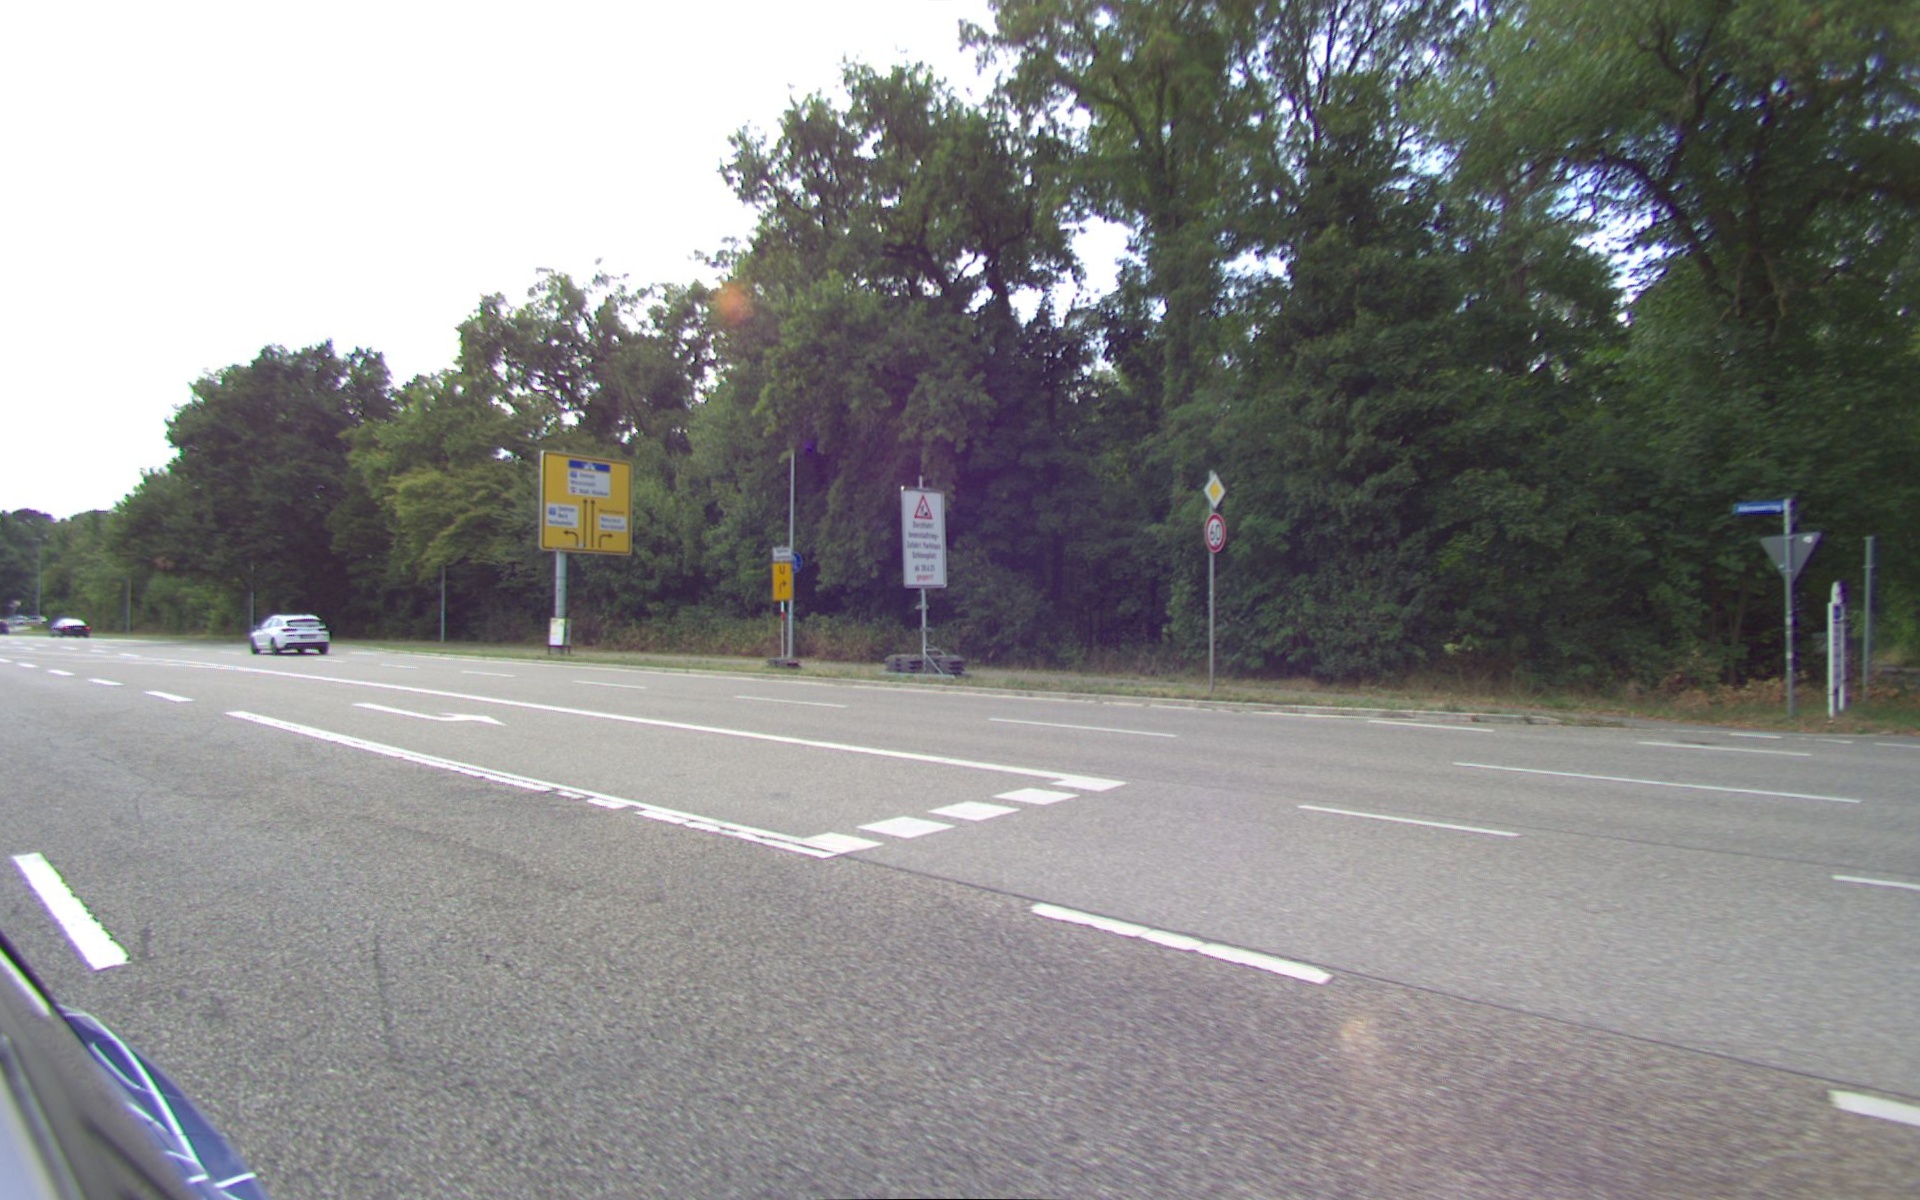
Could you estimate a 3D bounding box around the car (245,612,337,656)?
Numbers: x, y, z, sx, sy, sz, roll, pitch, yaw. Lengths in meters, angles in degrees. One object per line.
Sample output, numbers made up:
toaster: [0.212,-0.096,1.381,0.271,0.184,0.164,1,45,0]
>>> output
car: [-25.815,1.242,38.995,4.591,1.511,1.914,0,1,43]

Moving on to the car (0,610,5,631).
car: [-90.217,1.906,93.666,3.994,1.896,1.975,0,1,37]

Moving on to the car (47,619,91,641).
car: [-69.343,2.317,78.748,3.997,1.606,1.973,0,1,40]
